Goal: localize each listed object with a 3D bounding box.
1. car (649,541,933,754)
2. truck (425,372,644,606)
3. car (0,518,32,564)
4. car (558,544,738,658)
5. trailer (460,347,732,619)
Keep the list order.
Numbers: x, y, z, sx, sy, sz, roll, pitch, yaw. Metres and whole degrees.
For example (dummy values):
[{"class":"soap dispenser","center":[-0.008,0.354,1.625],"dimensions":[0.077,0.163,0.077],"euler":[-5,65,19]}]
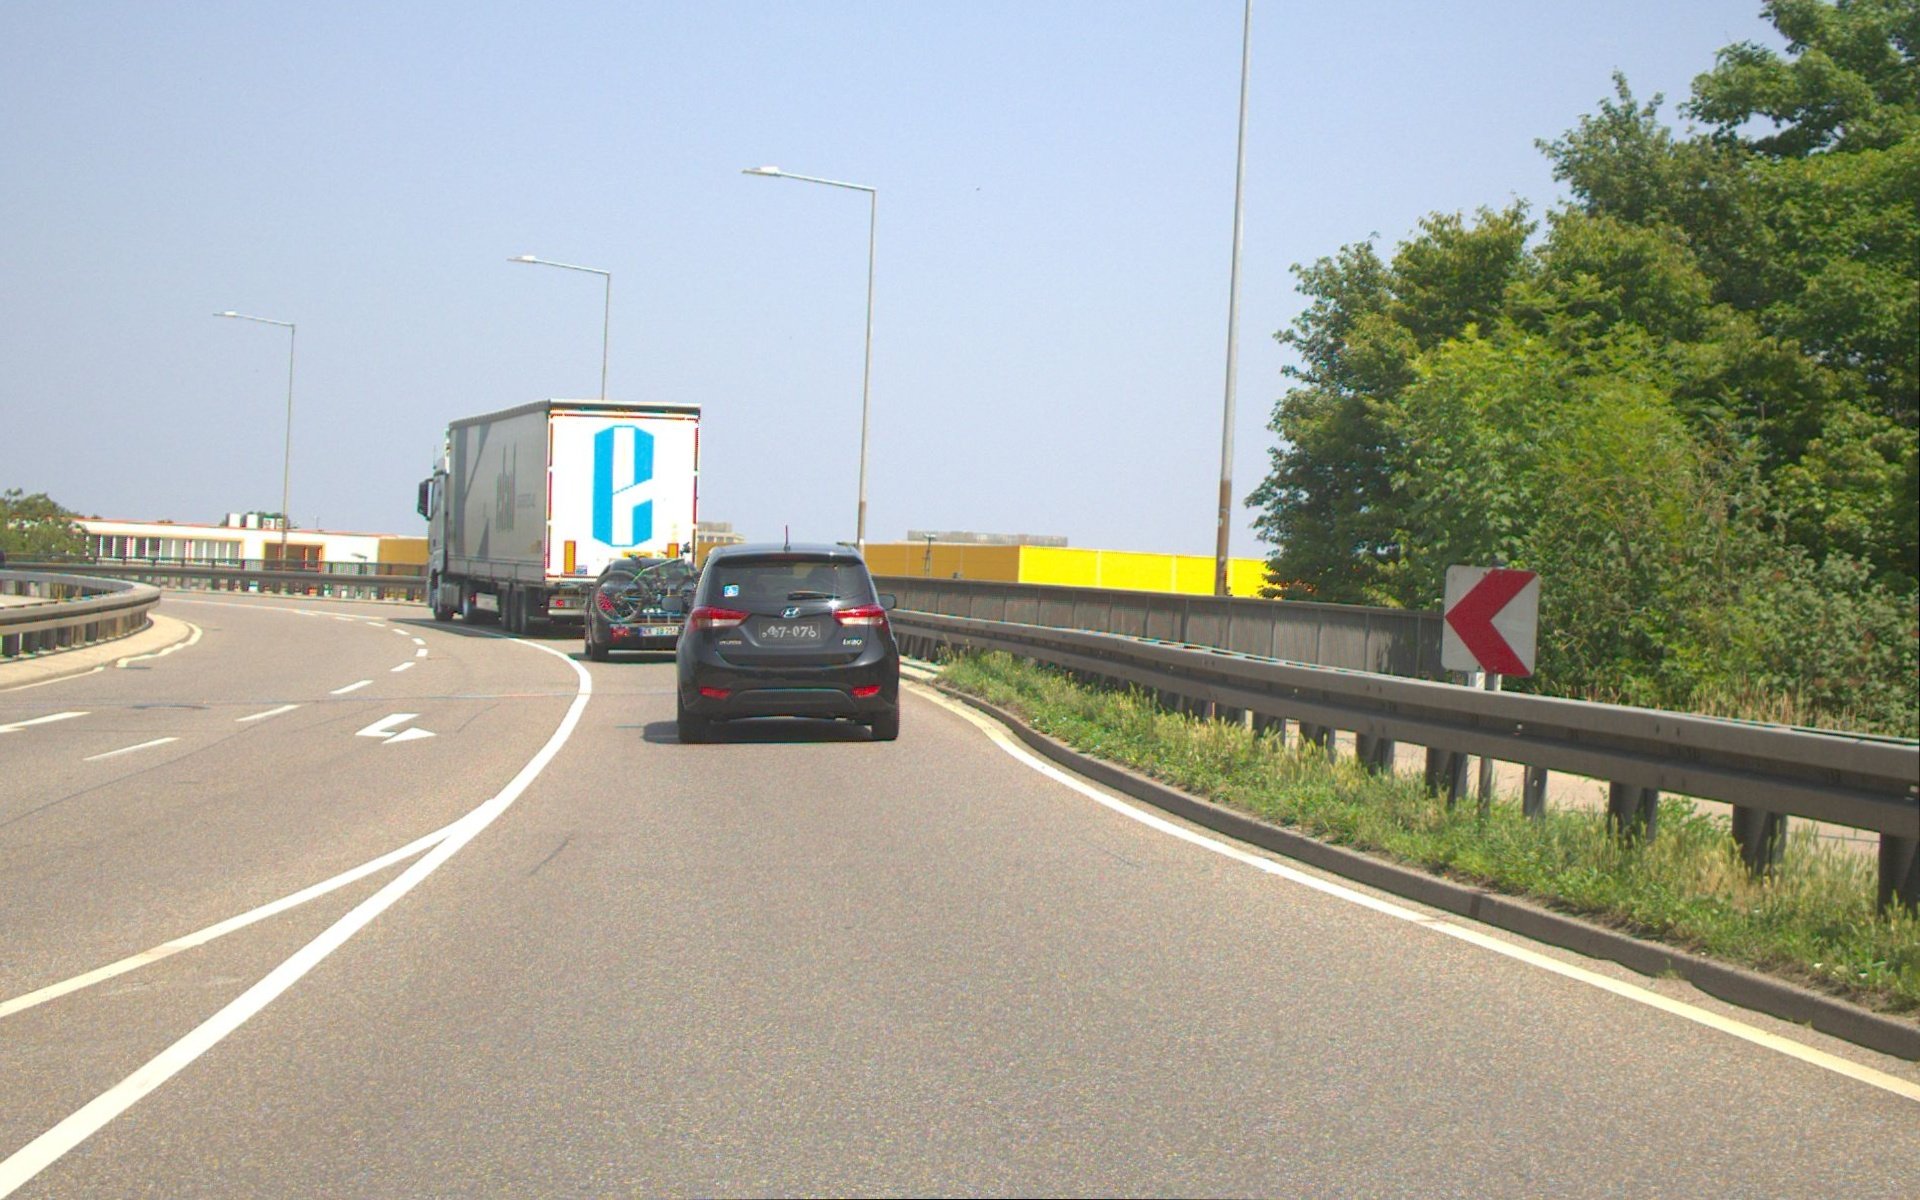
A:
[{"class":"car","center":[-1.475,0.339,28.416],"dimensions":[1.921,1.568,3.892],"euler":[2,1,-9]},{"class":"truck","center":[-8.752,-2.214,69.991],"dimensions":[3.571,4.425,6.517],"euler":[2,1,-14]},{"class":"car","center":[-33.109,-2.036,116.638],"dimensions":[1.840,1.503,3.634],"euler":[1,1,-38]},{"class":"car","center":[-4.325,-0.013,47.184],"dimensions":[2.011,1.424,3.778],"euler":[2,1,-12]},{"class":"trailer","center":[-6.808,-2.046,62.405],"dimensions":[3.568,4.369,11.444],"euler":[2,1,-12]}]
